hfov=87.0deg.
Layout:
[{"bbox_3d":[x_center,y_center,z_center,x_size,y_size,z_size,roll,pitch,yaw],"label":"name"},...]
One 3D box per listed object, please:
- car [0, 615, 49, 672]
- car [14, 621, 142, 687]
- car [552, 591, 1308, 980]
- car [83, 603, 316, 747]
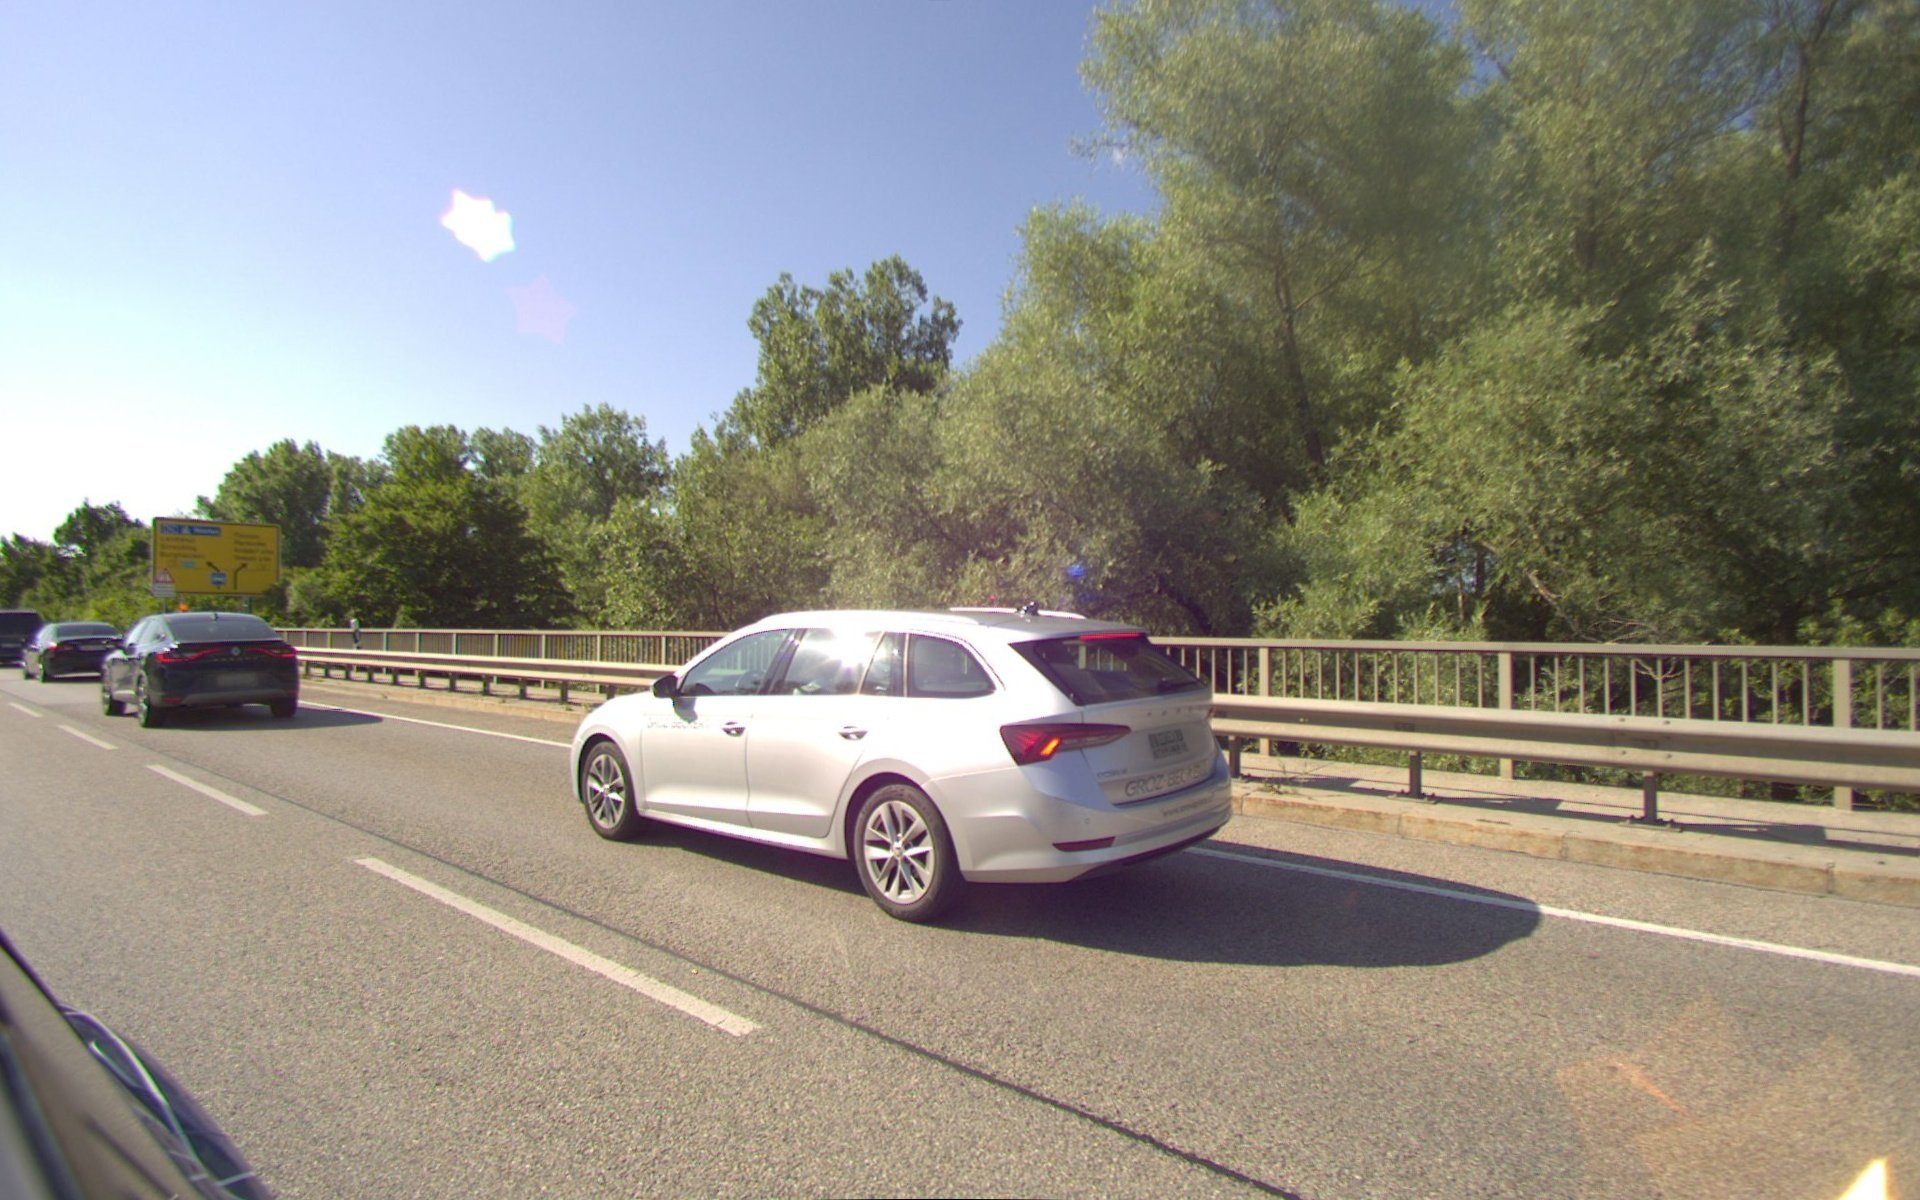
[{"bbox_3d":[-32.317,1.429,34.090,4.529,1.820,1.946,-2,-2,42],"label":"car"},{"bbox_3d":[-22.126,1.292,25.345,4.270,1.499,1.869,-1,-1,41],"label":"car"},{"bbox_3d":[-0.493,0.745,5.926,4.485,1.447,1.713,-1,-2,42],"label":"car"},{"bbox_3d":[-11.418,0.999,15.074,4.529,1.820,1.946,-2,-2,42],"label":"car"}]
